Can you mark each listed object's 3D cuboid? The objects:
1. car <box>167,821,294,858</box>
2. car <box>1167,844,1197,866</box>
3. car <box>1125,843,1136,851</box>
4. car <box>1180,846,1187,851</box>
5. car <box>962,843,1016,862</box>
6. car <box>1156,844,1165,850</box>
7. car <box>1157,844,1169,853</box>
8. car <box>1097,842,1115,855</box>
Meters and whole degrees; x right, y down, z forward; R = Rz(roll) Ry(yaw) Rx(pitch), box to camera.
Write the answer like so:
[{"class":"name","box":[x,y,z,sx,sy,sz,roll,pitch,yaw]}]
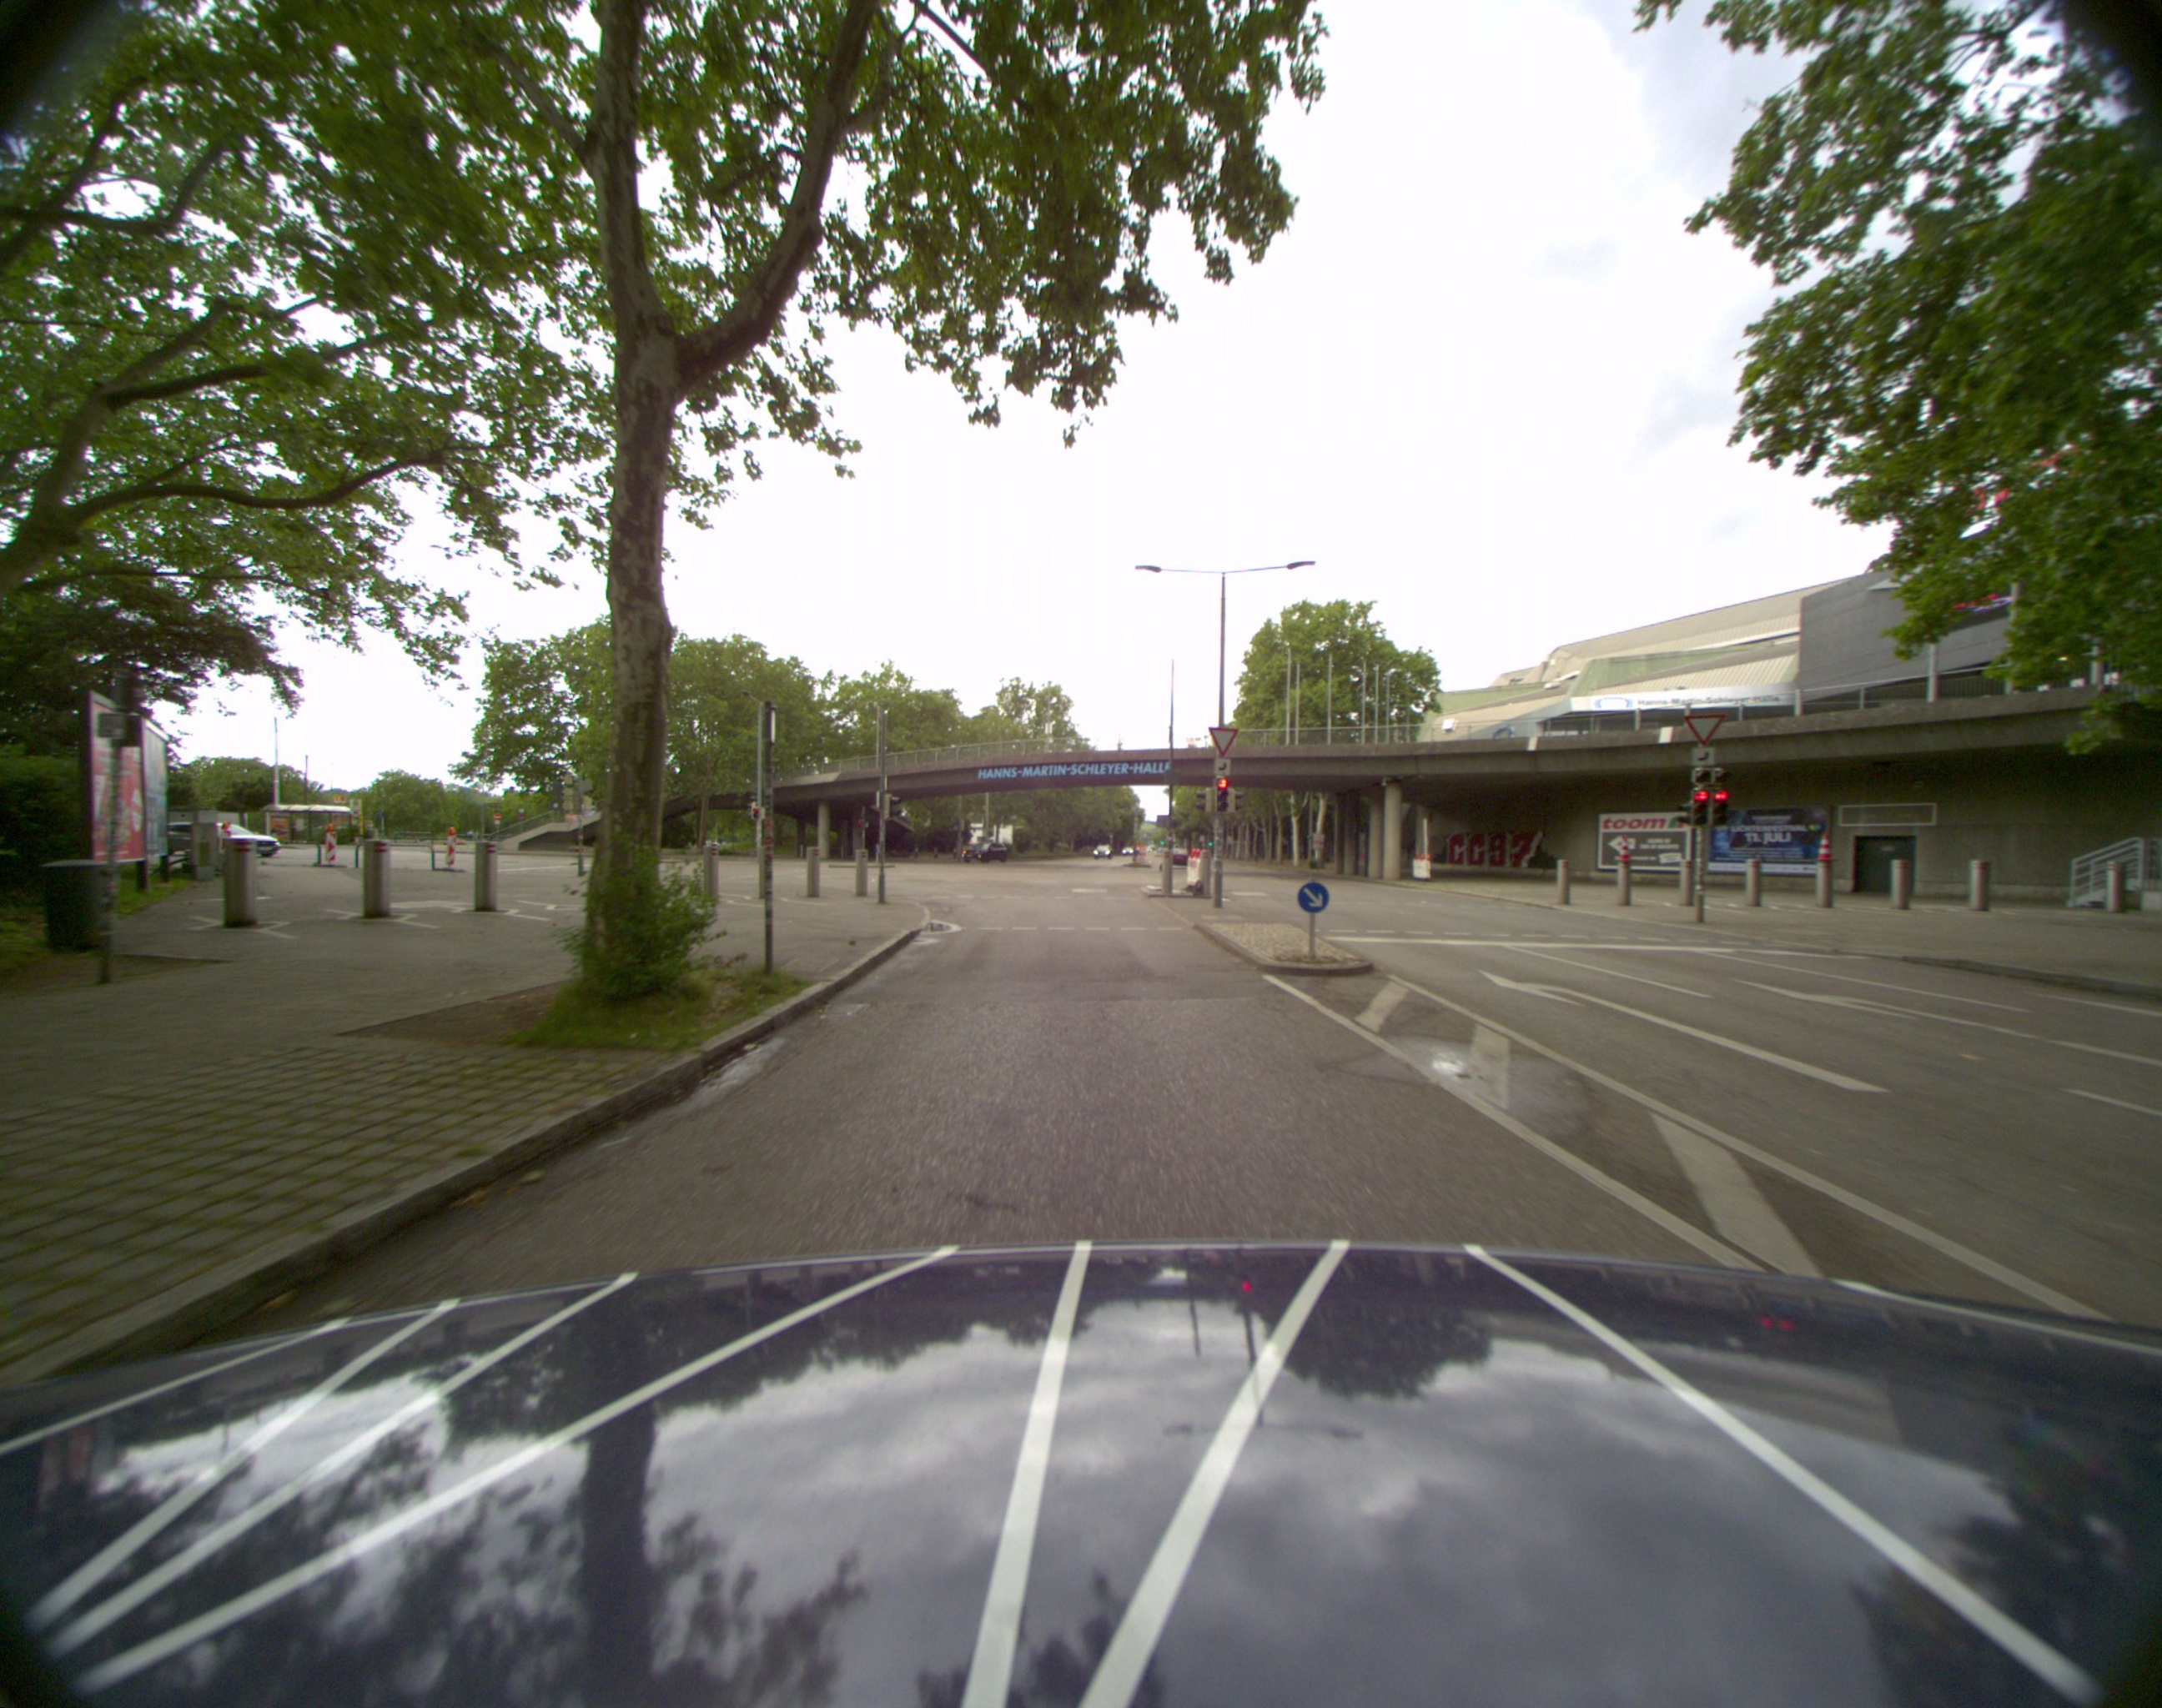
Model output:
[{"class":"car","box":[-38.117,-0.651,34.106,3.995,1.501,1.801,2,1,5]},{"class":"car","box":[7.287,0.065,54.656,1.831,1.443,4.079,2,2,11]},{"class":"car","box":[9.263,-1.271,141.315,1.761,1.357,3.717,2,3,9]},{"class":"car","box":[24.969,-1.320,184.813,1.614,1.305,3.396,2,2,6]},{"class":"car","box":[-6.906,-0.148,57.069,3.724,1.314,1.758,-1,4,-44]},{"class":"car","box":[23.621,-2.070,226.382,1.999,1.650,3.998,1,2,-2]},{"class":"car","box":[14.364,-1.017,133.348,1.997,1.411,4.001,2,2,6]},{"class":"car","box":[2.969,-0.688,88.792,1.761,1.357,3.717,2,3,7]}]
